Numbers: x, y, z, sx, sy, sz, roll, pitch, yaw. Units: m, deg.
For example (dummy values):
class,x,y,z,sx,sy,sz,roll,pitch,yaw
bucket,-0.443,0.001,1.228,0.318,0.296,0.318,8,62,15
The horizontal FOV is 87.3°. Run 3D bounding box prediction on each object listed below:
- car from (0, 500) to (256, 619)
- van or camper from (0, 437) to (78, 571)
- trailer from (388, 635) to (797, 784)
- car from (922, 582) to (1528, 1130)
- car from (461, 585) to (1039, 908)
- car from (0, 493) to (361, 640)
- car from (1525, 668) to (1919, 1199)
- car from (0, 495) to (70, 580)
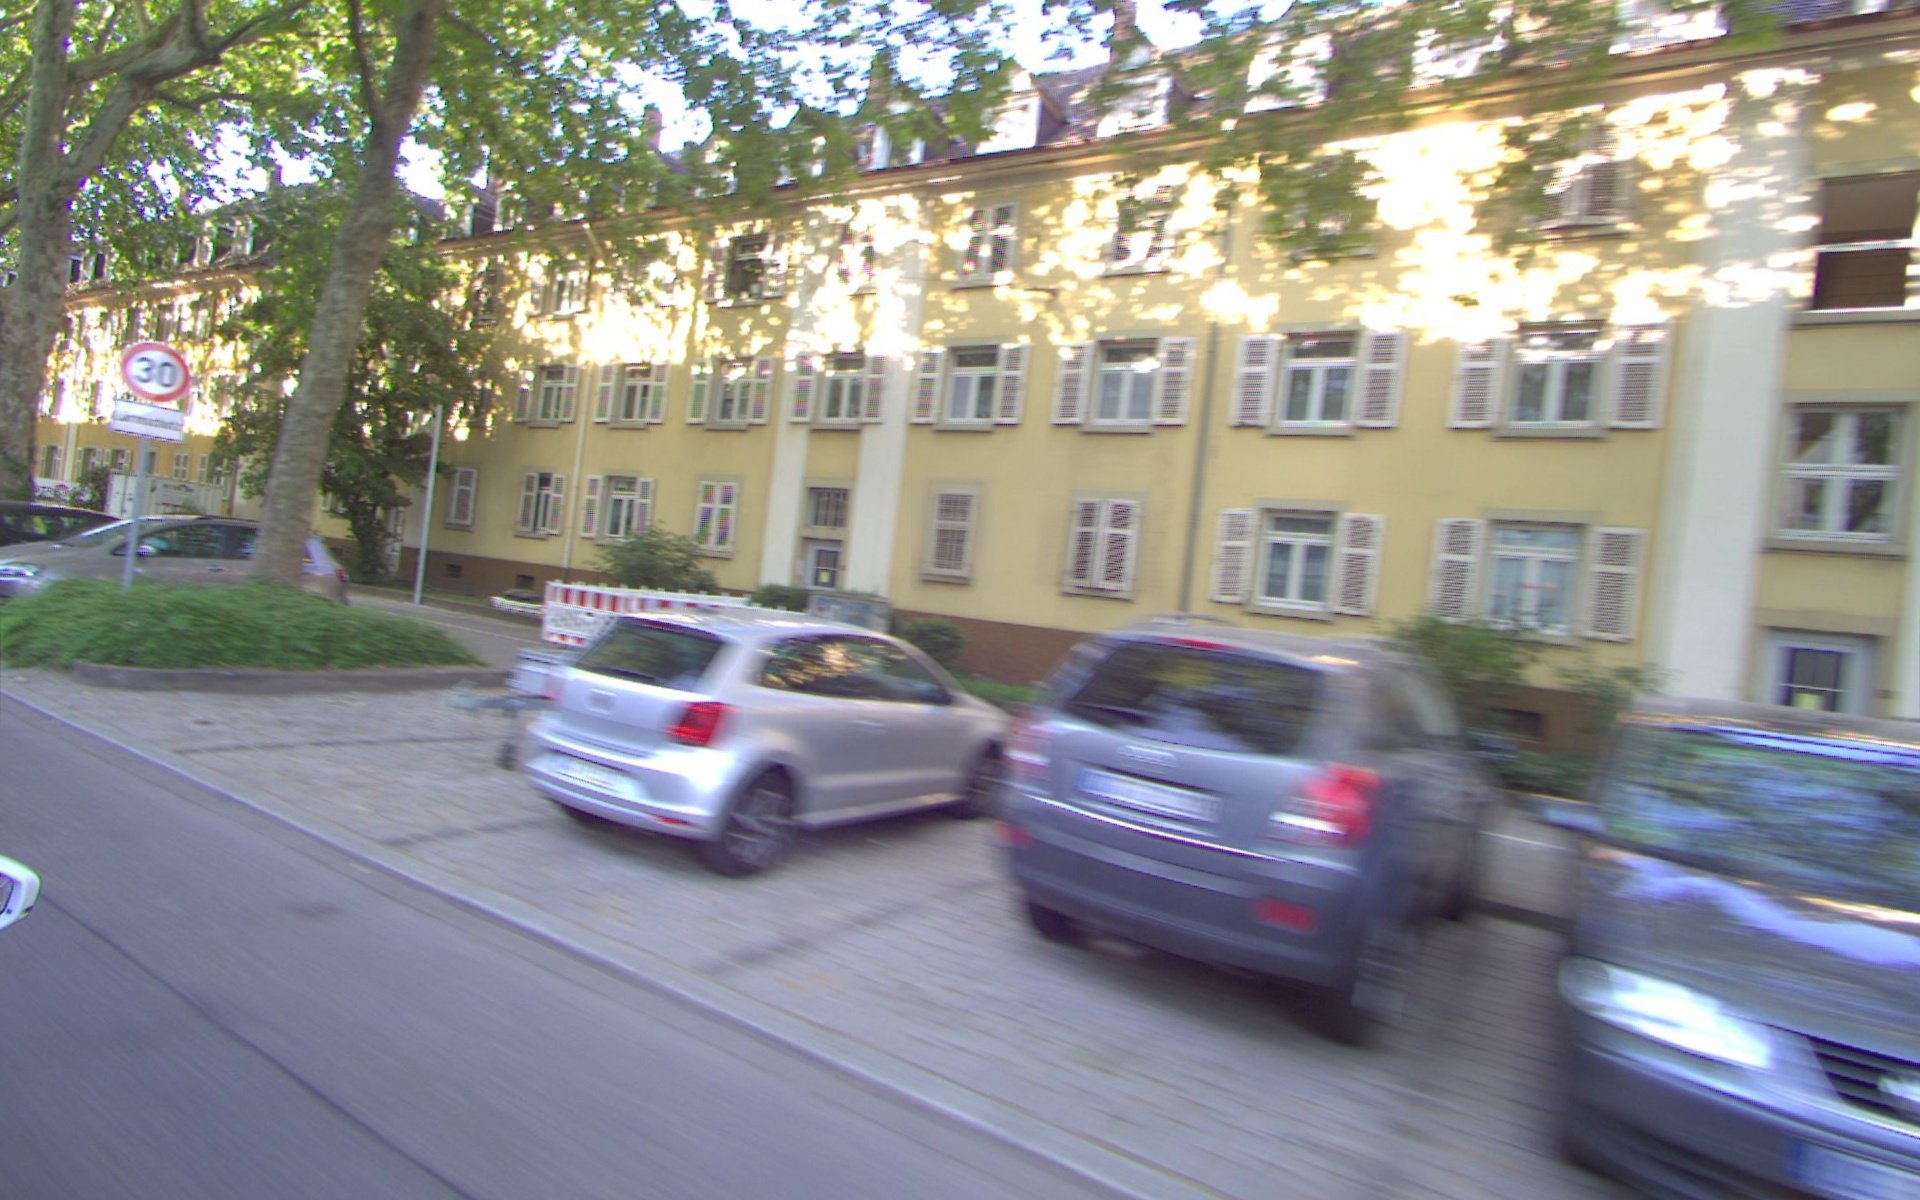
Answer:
class,x,y,z,sx,sy,sz,roll,pitch,yaw
car,-12.654,-0.588,14.506,1.707,1.445,3.658,7,1,28
van or camper,-21.878,-2.255,20.089,2.234,2.661,5.929,6,0,33
trailer,-3.061,0.876,8.799,1.415,0.915,3.037,7,1,38
car,1.874,0.991,5.740,1.811,1.754,4.307,7,1,35
car,-1.183,0.824,7.053,1.835,1.442,3.653,8,1,33
car,-10.508,-0.391,13.241,1.800,1.569,4.080,7,1,31
car,3.484,1.255,4.100,1.876,1.678,4.430,7,1,30
car,-19.507,-1.377,18.797,1.833,1.508,3.908,7,0,33
